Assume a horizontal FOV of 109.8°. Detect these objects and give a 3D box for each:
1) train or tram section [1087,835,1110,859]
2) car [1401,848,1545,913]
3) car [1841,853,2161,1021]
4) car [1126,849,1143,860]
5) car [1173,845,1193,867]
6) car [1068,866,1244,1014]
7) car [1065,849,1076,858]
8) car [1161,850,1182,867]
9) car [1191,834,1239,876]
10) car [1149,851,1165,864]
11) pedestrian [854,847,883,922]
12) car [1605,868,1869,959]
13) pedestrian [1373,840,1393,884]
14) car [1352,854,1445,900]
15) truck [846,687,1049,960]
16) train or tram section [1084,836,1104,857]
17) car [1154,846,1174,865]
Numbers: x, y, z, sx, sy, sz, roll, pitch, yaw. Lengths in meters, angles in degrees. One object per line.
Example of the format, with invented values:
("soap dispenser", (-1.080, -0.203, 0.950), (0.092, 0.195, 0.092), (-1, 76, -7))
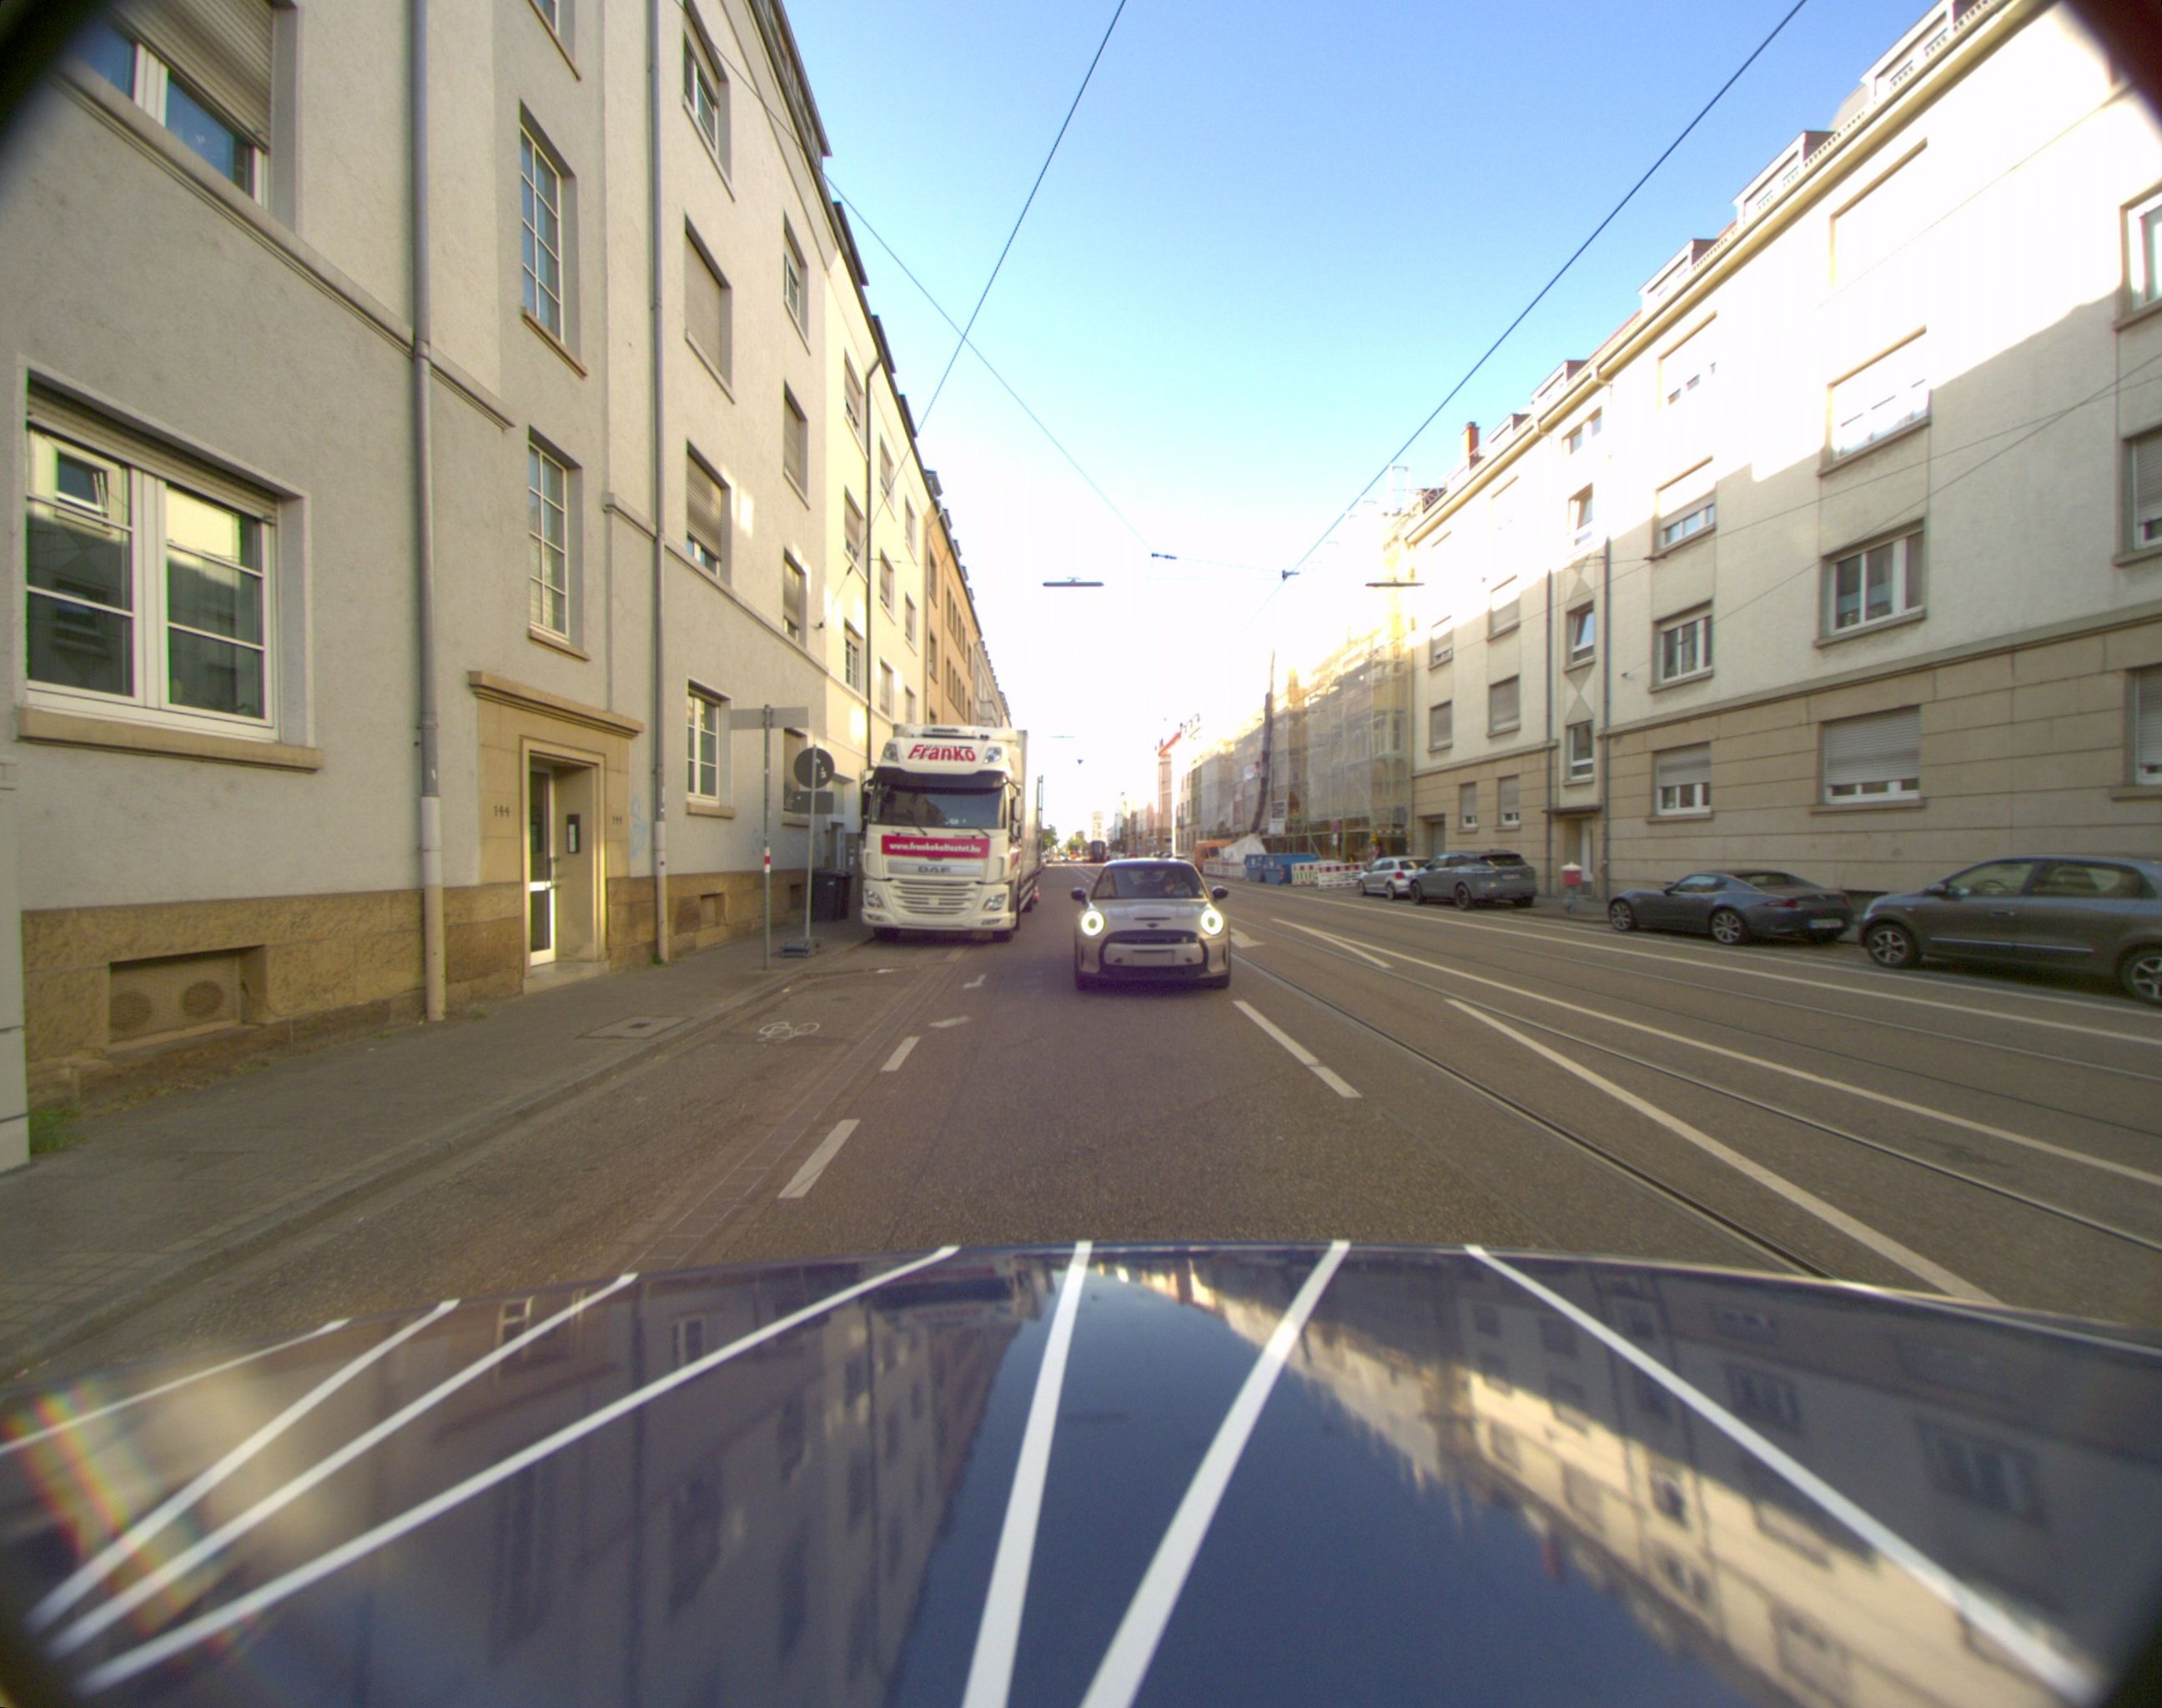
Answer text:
("train or tram section", (2.651, -1.112, 120.354), (2.867, 3.542, 13.038), (0, 1, -2))
("car", (11.061, 0.672, 21.804), (1.752, 1.600, 4.157), (-3, 1, -3))
("car", (11.461, 0.820, 8.801), (1.643, 1.549, 3.594), (-3, 1, -2))
("car", (8.399, 0.014, 119.843), (2.231, 1.518, 4.959), (-2, 1, -1))
("car", (9.594, 0.197, 71.425), (1.657, 1.911, 3.766), (-2, 1, 6))
("car", (0.755, 0.883, 9.416), (1.727, 1.416, 3.817), (0, 0, 0))
("car", (-2.251, -0.096, 161.962), (1.999, 1.871, 4.269), (-2, 1, -3))
("car", (9.175, 0.438, 77.480), (1.570, 1.674, 3.936), (-2, 1, -1))
("car", (9.406, 0.028, 53.834), (2.215, 2.681, 5.871), (-2, 1, -1))
("car", (9.106, 0.411, 91.221), (1.532, 1.518, 3.599), (-2, 1, -1))
("pedestrian", (-4.640, 0.649, 16.600), (0.475, 1.620, 0.467), (0, 1, 0))
("car", (11.297, 0.947, 13.421), (1.476, 1.212, 3.522), (-3, 1, -3))
("pedestrian", (12.949, 0.321, 32.577), (0.519, 1.861, 0.762), (-2, 1, -2))
("car", (10.884, 0.734, 26.324), (1.565, 1.372, 3.506), (-3, 1, -3))
("truck", (-2.297, -0.586, 17.655), (2.700, 4.214, 11.774), (0, 1, -1))
("train or tram section", (2.188, -1.289, 133.519), (2.867, 3.542, 13.330), (0, 1, -2))
("car", (9.116, 0.101, 83.844), (1.570, 1.945, 4.183), (-2, 1, -1))
